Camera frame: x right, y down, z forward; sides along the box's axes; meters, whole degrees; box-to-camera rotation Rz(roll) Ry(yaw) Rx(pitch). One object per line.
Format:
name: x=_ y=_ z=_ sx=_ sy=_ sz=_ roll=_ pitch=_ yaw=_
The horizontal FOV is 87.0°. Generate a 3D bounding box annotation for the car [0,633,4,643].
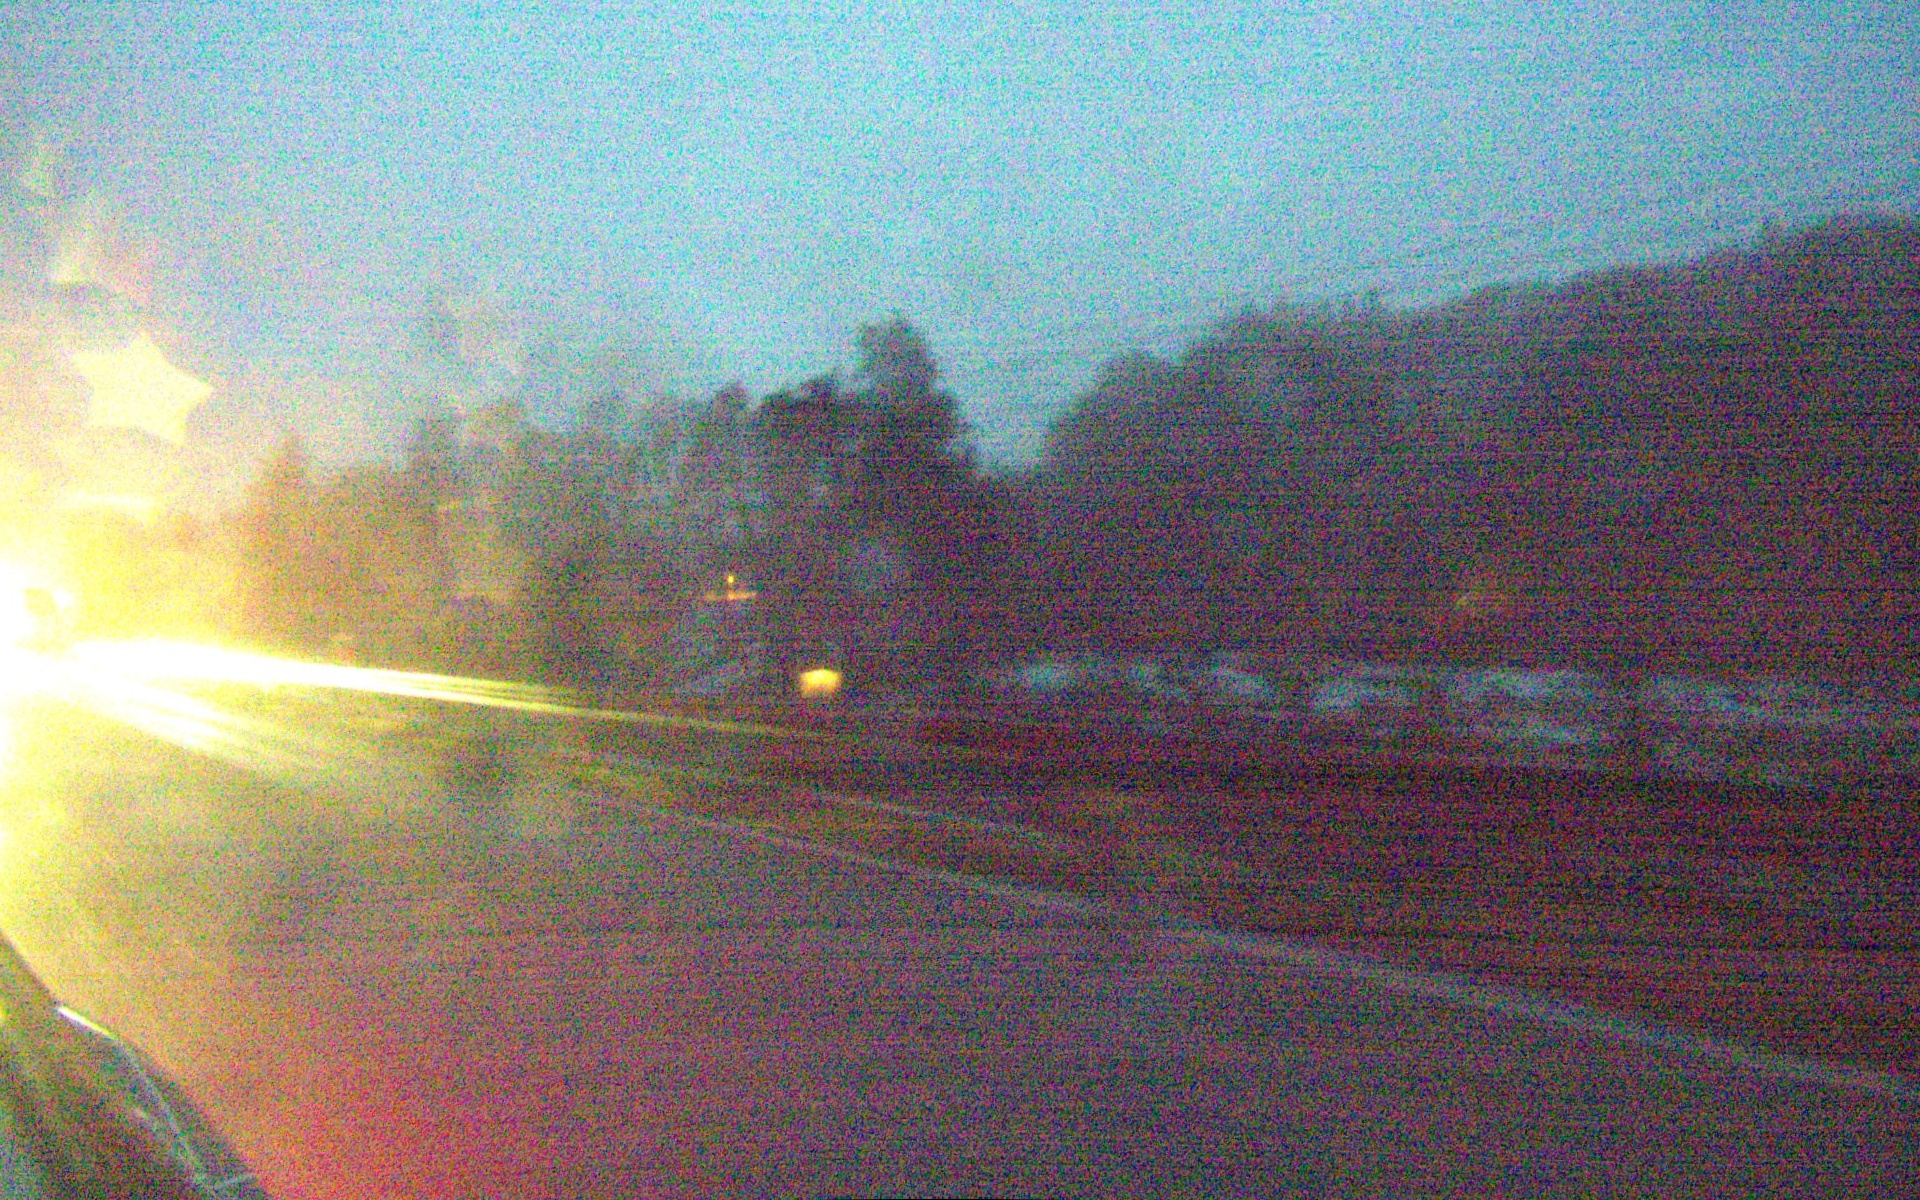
car: x=-160.143 y=6.271 z=168.228 sx=1.765 sy=1.645 sz=4.429 roll=-2 pitch=0 yaw=-44

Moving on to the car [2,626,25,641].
car: x=-110.840 y=3.908 z=118.461 sx=1.809 sy=1.566 sz=4.444 roll=-2 pitch=0 yaw=-44
